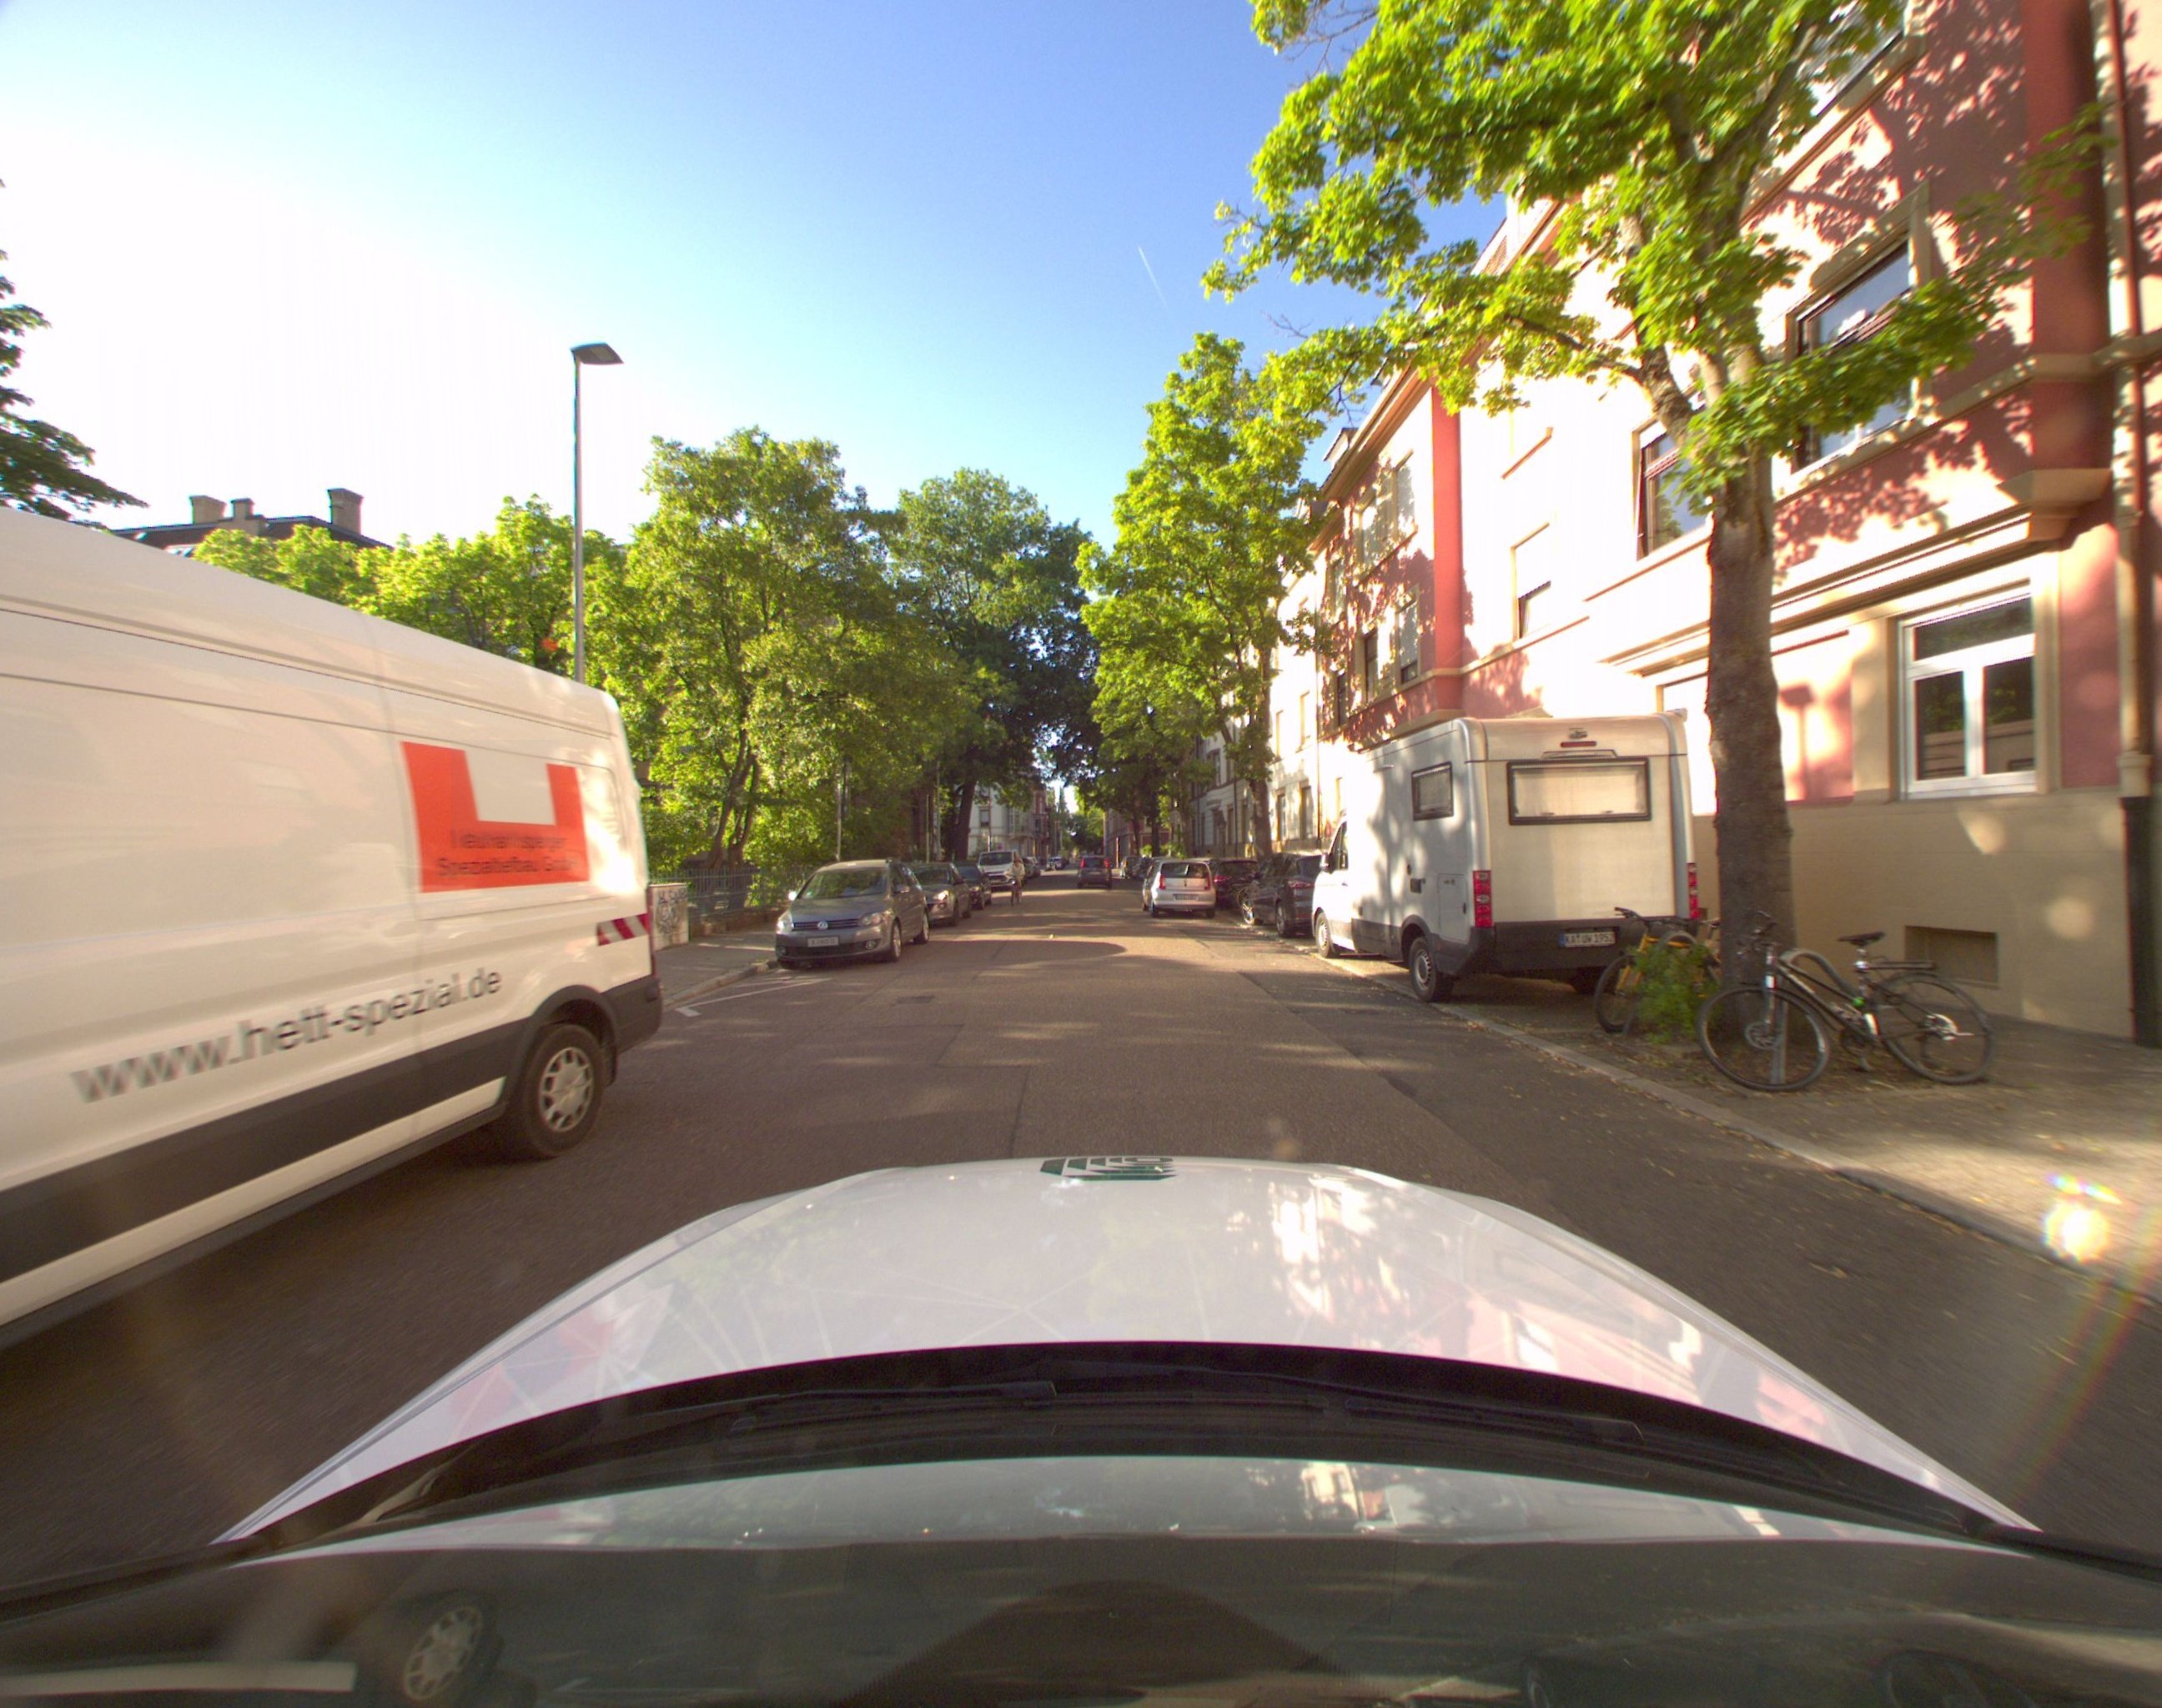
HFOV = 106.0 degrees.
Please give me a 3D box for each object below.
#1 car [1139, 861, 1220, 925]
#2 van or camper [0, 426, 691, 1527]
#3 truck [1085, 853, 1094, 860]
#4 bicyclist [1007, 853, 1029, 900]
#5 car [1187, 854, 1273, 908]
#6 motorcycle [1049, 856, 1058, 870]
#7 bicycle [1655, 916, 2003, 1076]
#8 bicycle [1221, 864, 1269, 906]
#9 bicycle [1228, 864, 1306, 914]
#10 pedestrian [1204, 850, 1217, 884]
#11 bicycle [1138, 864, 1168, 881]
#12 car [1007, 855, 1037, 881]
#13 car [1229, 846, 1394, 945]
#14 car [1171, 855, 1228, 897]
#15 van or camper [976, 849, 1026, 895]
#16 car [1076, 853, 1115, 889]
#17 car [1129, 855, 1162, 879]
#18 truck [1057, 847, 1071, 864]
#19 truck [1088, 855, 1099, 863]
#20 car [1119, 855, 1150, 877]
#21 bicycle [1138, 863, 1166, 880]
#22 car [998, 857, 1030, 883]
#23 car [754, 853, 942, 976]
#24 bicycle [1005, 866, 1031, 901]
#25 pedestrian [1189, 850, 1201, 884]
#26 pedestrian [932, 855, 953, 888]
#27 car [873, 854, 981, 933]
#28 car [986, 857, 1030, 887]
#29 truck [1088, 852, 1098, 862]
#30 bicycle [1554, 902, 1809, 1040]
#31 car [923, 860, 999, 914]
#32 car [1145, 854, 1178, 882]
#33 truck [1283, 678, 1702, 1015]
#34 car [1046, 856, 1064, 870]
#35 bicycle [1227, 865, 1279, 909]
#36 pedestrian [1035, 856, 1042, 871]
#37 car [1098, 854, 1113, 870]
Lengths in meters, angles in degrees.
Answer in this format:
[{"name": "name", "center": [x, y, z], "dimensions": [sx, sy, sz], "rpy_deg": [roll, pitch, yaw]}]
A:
[{"name": "car", "center": [2.561, 0.969, 21.963], "dimensions": [1.674, 1.544, 3.798], "rpy_deg": [0, 0, -1]}, {"name": "van or camper", "center": [-3.793, 0.329, 2.643], "dimensions": [2.122, 2.769, 5.850], "rpy_deg": [-3, 0, 0]}, {"name": "truck", "center": [1.937, 0.629, 193.556], "dimensions": [1.987, 1.456, 3.999], "rpy_deg": [-1, 0, 0]}, {"name": "bicyclist", "center": [-2.030, 0.709, 26.441], "dimensions": [0.649, 1.509, 0.625], "rpy_deg": [0, 0, 1]}, {"name": "car", "center": [4.509, 0.769, 25.318], "dimensions": [1.781, 1.514, 4.457], "rpy_deg": [0, 0, -1]}, {"name": "motorcycle", "center": [-3.050, 0.970, 89.687], "dimensions": [0.696, 1.460, 1.745], "rpy_deg": [-2, 0, -10]}, {"name": "bicycle", "center": [4.936, 0.920, 5.446], "dimensions": [1.779, 0.949, 0.579], "rpy_deg": [-1, 0, 1]}, {"name": "bicycle", "center": [4.403, 0.841, 21.879], "dimensions": [1.197, 1.075, 0.298], "rpy_deg": [-2, 0, -2]}, {"name": "bicycle", "center": [4.742, 0.883, 20.780], "dimensions": [1.806, 1.167, 0.569], "rpy_deg": [-3, 0, -2]}, {"name": "pedestrian", "center": [6.609, 0.655, 41.549], "dimensions": [0.593, 1.701, 0.689], "rpy_deg": [0, 0, 1]}, {"name": "bicycle", "center": [4.394, 1.118, 49.889], "dimensions": [1.764, 1.039, 0.606], "rpy_deg": [0, 0, -1]}, {"name": "car", "center": [-4.054, 0.922, 56.298], "dimensions": [1.821, 1.554, 4.129], "rpy_deg": [-5, 0, -3]}, {"name": "car", "center": [4.550, 0.729, 16.918], "dimensions": [1.880, 1.716, 4.941], "rpy_deg": [-1, 0, -2]}, {"name": "car", "center": [4.524, 0.797, 31.539], "dimensions": [1.591, 1.488, 3.747], "rpy_deg": [-2, 0, 0]}, {"name": "van or camper", "center": [-3.900, 0.856, 40.514], "dimensions": [1.916, 1.979, 5.458], "rpy_deg": [-4, 0, -1]}, {"name": "car", "center": [0.662, 0.765, 38.428], "dimensions": [1.629, 1.550, 3.261], "rpy_deg": [-1, 0, -2]}, {"name": "car", "center": [4.277, 0.849, 54.437], "dimensions": [1.608, 1.478, 3.864], "rpy_deg": [-1, 0, -4]}, {"name": "truck", "center": [-3.047, 0.268, 145.595], "dimensions": [2.063, 2.925, 5.068], "rpy_deg": [-5, 0, 1]}, {"name": "truck", "center": [2.402, 0.936, 153.993], "dimensions": [1.987, 1.456, 3.999], "rpy_deg": [-1, 0, 0]}, {"name": "car", "center": [3.892, 0.838, 60.011], "dimensions": [1.785, 1.551, 4.405], "rpy_deg": [-1, 0, -3]}, {"name": "bicycle", "center": [4.454, 1.094, 51.112], "dimensions": [1.710, 0.949, 0.733], "rpy_deg": [-2, 0, -1]}, {"name": "car", "center": [-4.167, 0.961, 50.927], "dimensions": [1.597, 1.460, 4.026], "rpy_deg": [-4, 0, -1]}, {"name": "car", "center": [-3.601, 0.834, 13.489], "dimensions": [1.775, 1.590, 4.467], "rpy_deg": [-3, 0, -1]}, {"name": "bicycle", "center": [-2.037, 0.946, 26.389], "dimensions": [0.662, 1.077, 1.686], "rpy_deg": [0, 0, 2]}, {"name": "pedestrian", "center": [5.828, 0.641, 41.610], "dimensions": [0.518, 1.735, 0.878], "rpy_deg": [0, 0, 1]}, {"name": "pedestrian", "center": [-6.552, 0.824, 38.504], "dimensions": [0.878, 1.577, 0.529], "rpy_deg": [0, 0, 0]}, {"name": "car", "center": [-3.582, 0.859, 19.693], "dimensions": [1.670, 1.572, 4.151], "rpy_deg": [-4, 0, 0]}, {"name": "car", "center": [-4.055, 0.966, 46.028], "dimensions": [1.994, 1.457, 4.605], "rpy_deg": [-3, 0, 0]}, {"name": "truck", "center": [2.337, 0.613, 159.373], "dimensions": [1.987, 1.992, 3.999], "rpy_deg": [-1, 0, 0]}, {"name": "bicycle", "center": [4.994, 0.944, 6.829], "dimensions": [1.701, 1.000, 0.705], "rpy_deg": [-1, 0, -7]}, {"name": "car", "center": [-3.728, 0.973, 25.988], "dimensions": [1.709, 1.395, 4.777], "rpy_deg": [-5, 0, -1]}, {"name": "car", "center": [4.531, 0.774, 46.370], "dimensions": [1.515, 1.511, 3.543], "rpy_deg": [-1, 0, 0]}, {"name": "truck", "center": [4.538, -0.084, 10.511], "dimensions": [2.068, 2.968, 6.106], "rpy_deg": [-3, 0, -1]}, {"name": "car", "center": [-2.920, 0.990, 92.985], "dimensions": [1.791, 1.431, 3.925], "rpy_deg": [-4, 0, 1]}, {"name": "bicycle", "center": [4.695, 0.903, 22.231], "dimensions": [1.303, 1.140, 0.328], "rpy_deg": [-2, 0, -1]}, {"name": "pedestrian", "center": [-5.230, 1.113, 100.465], "dimensions": [0.718, 1.839, 0.628], "rpy_deg": [0, 0, 11]}, {"name": "car", "center": [2.714, 0.882, 90.610], "dimensions": [1.657, 1.669, 3.757], "rpy_deg": [0, 0, 1]}]
